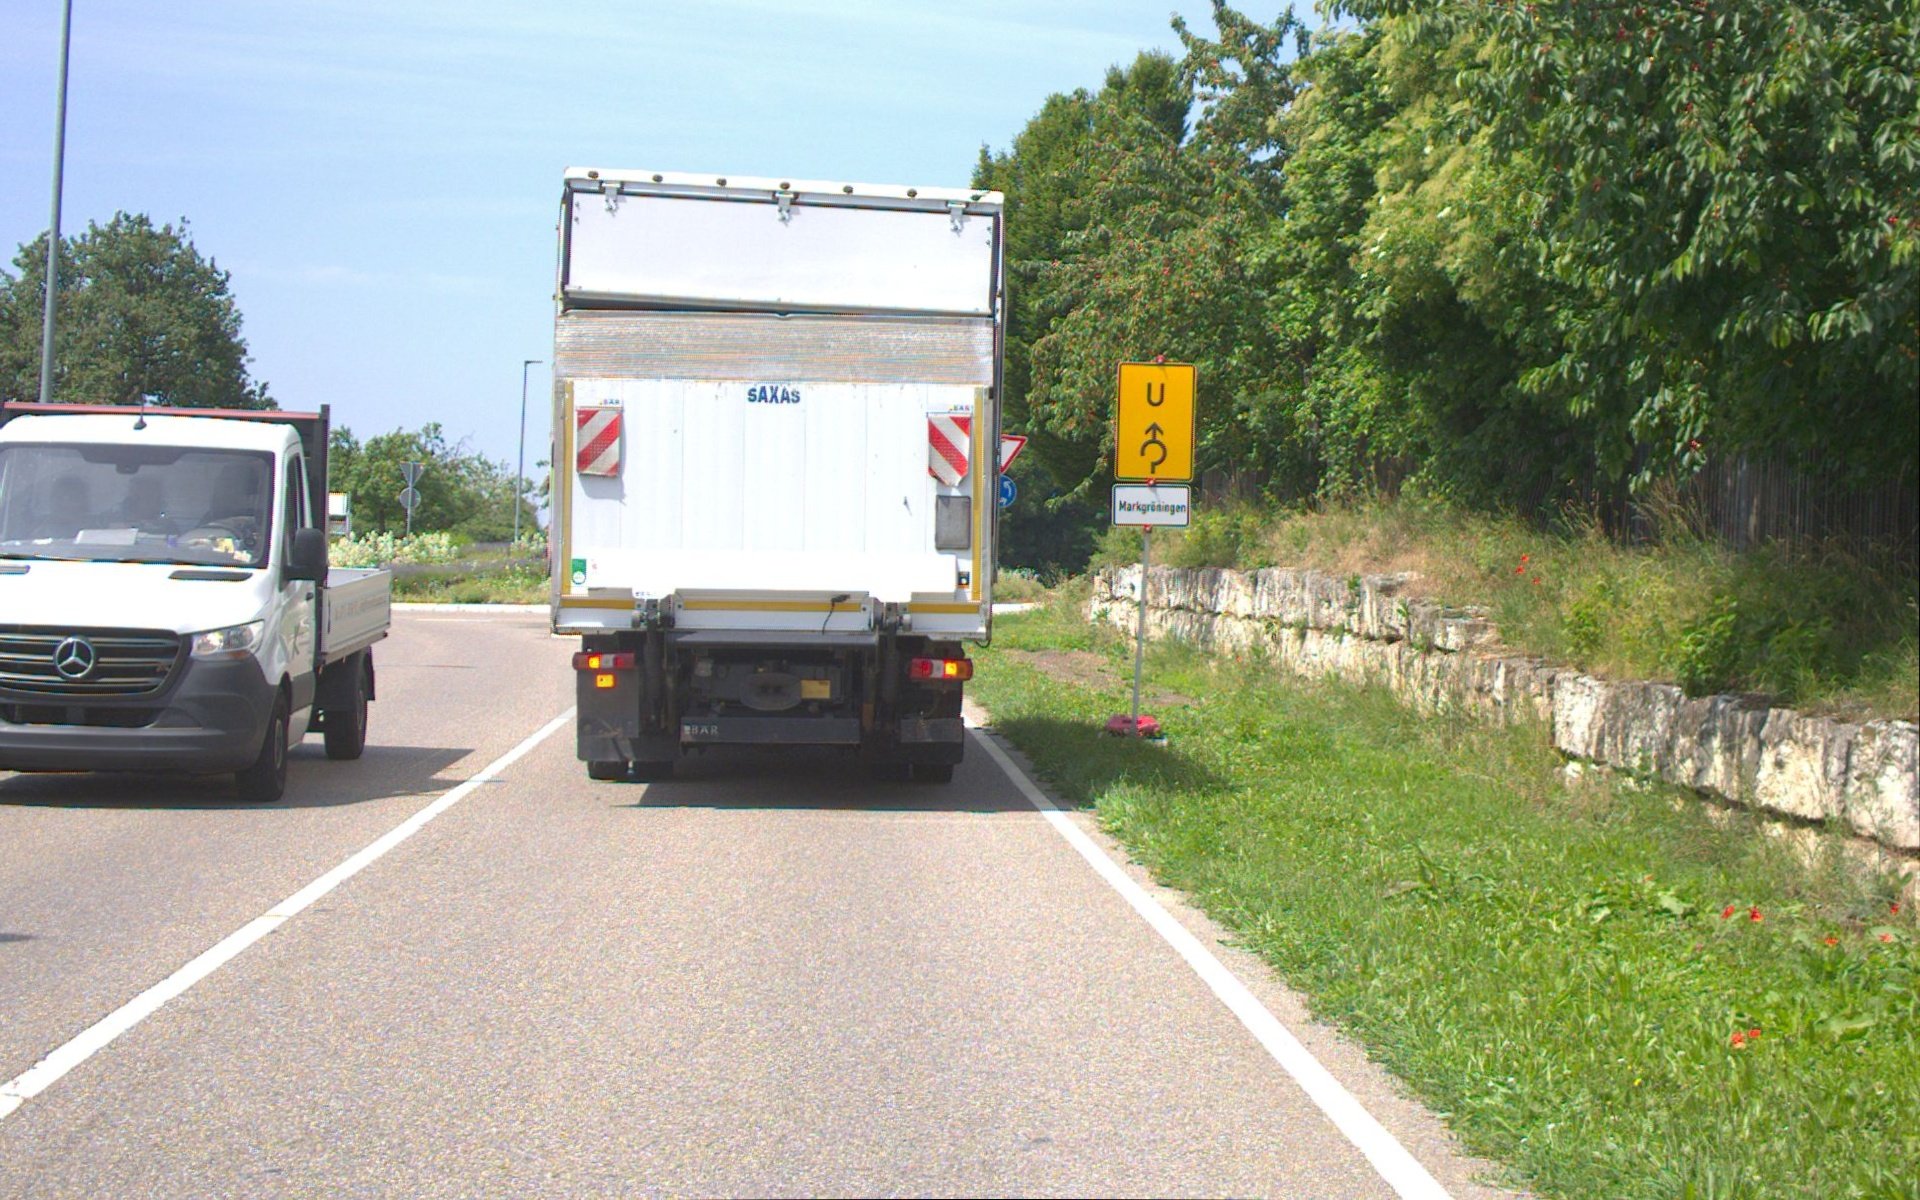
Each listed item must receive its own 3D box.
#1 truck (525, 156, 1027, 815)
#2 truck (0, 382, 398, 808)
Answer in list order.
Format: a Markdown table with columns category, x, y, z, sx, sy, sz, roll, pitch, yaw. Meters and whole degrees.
| category | x | y | z | sx | sy | sz | roll | pitch | yaw |
| --- | --- | --- | --- | --- | --- | --- | --- | --- | --- |
| truck | -1.362 | -0.720 | 24.009 | 2.766 | 3.658 | 9.384 | 1 | 1 | -4 |
| truck | -4.991 | -0.077 | 21.853 | 2.222 | 2.285 | 6.493 | 1 | 1 | -4 |
